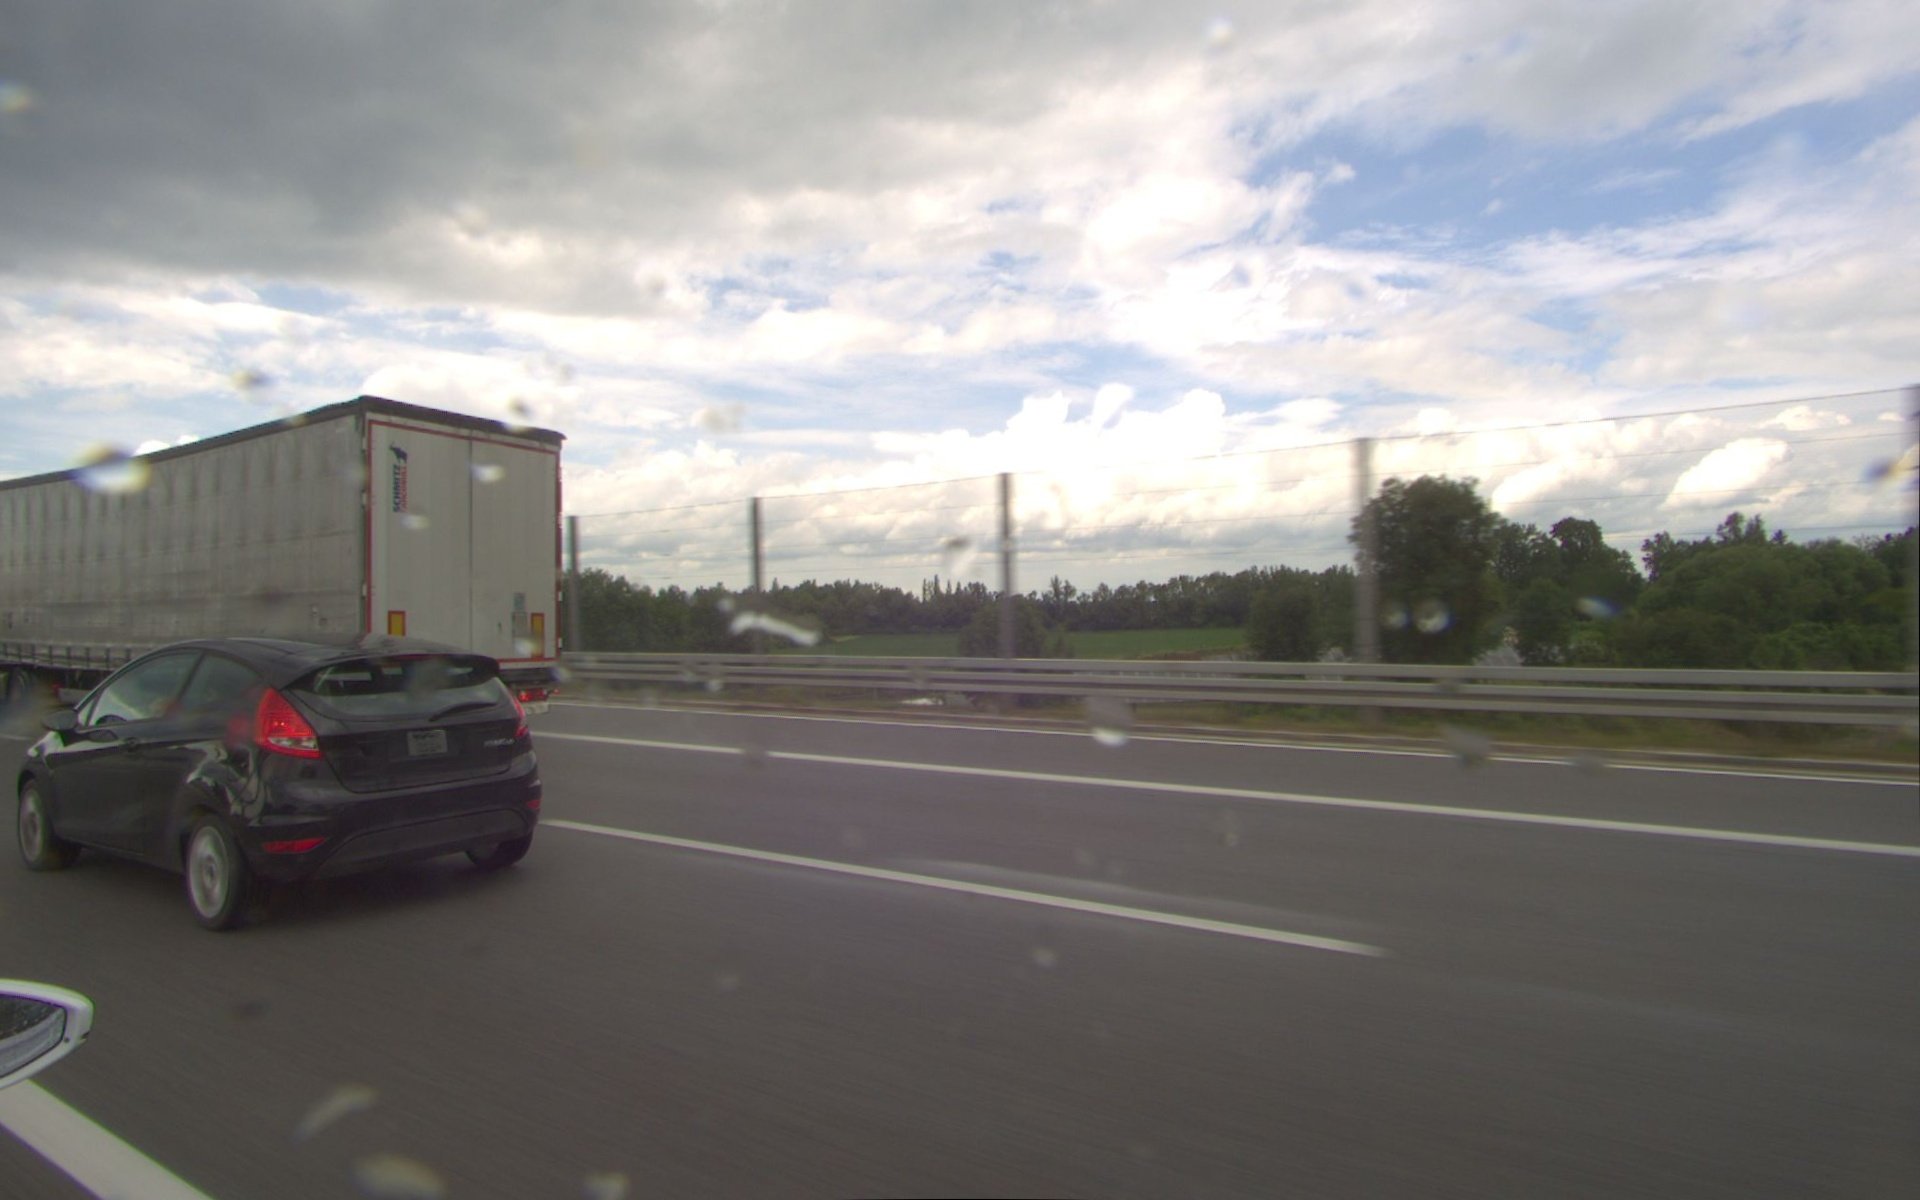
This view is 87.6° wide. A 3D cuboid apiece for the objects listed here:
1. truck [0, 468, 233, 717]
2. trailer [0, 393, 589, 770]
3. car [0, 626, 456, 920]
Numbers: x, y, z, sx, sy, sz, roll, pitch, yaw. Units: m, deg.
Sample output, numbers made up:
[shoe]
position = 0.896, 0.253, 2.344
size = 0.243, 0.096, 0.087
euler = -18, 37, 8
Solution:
[truck]
position = -17.237, -0.062, 19.361
size = 6.494, 4.072, 2.956
euler = 0, -1, 32
[trailer]
position = -11.610, -0.109, 15.830
size = 13.915, 4.072, 2.956
euler = -1, -1, 32
[car]
position = -4.824, 0.899, 6.438
size = 3.118, 1.460, 1.444
euler = -1, -1, 32
